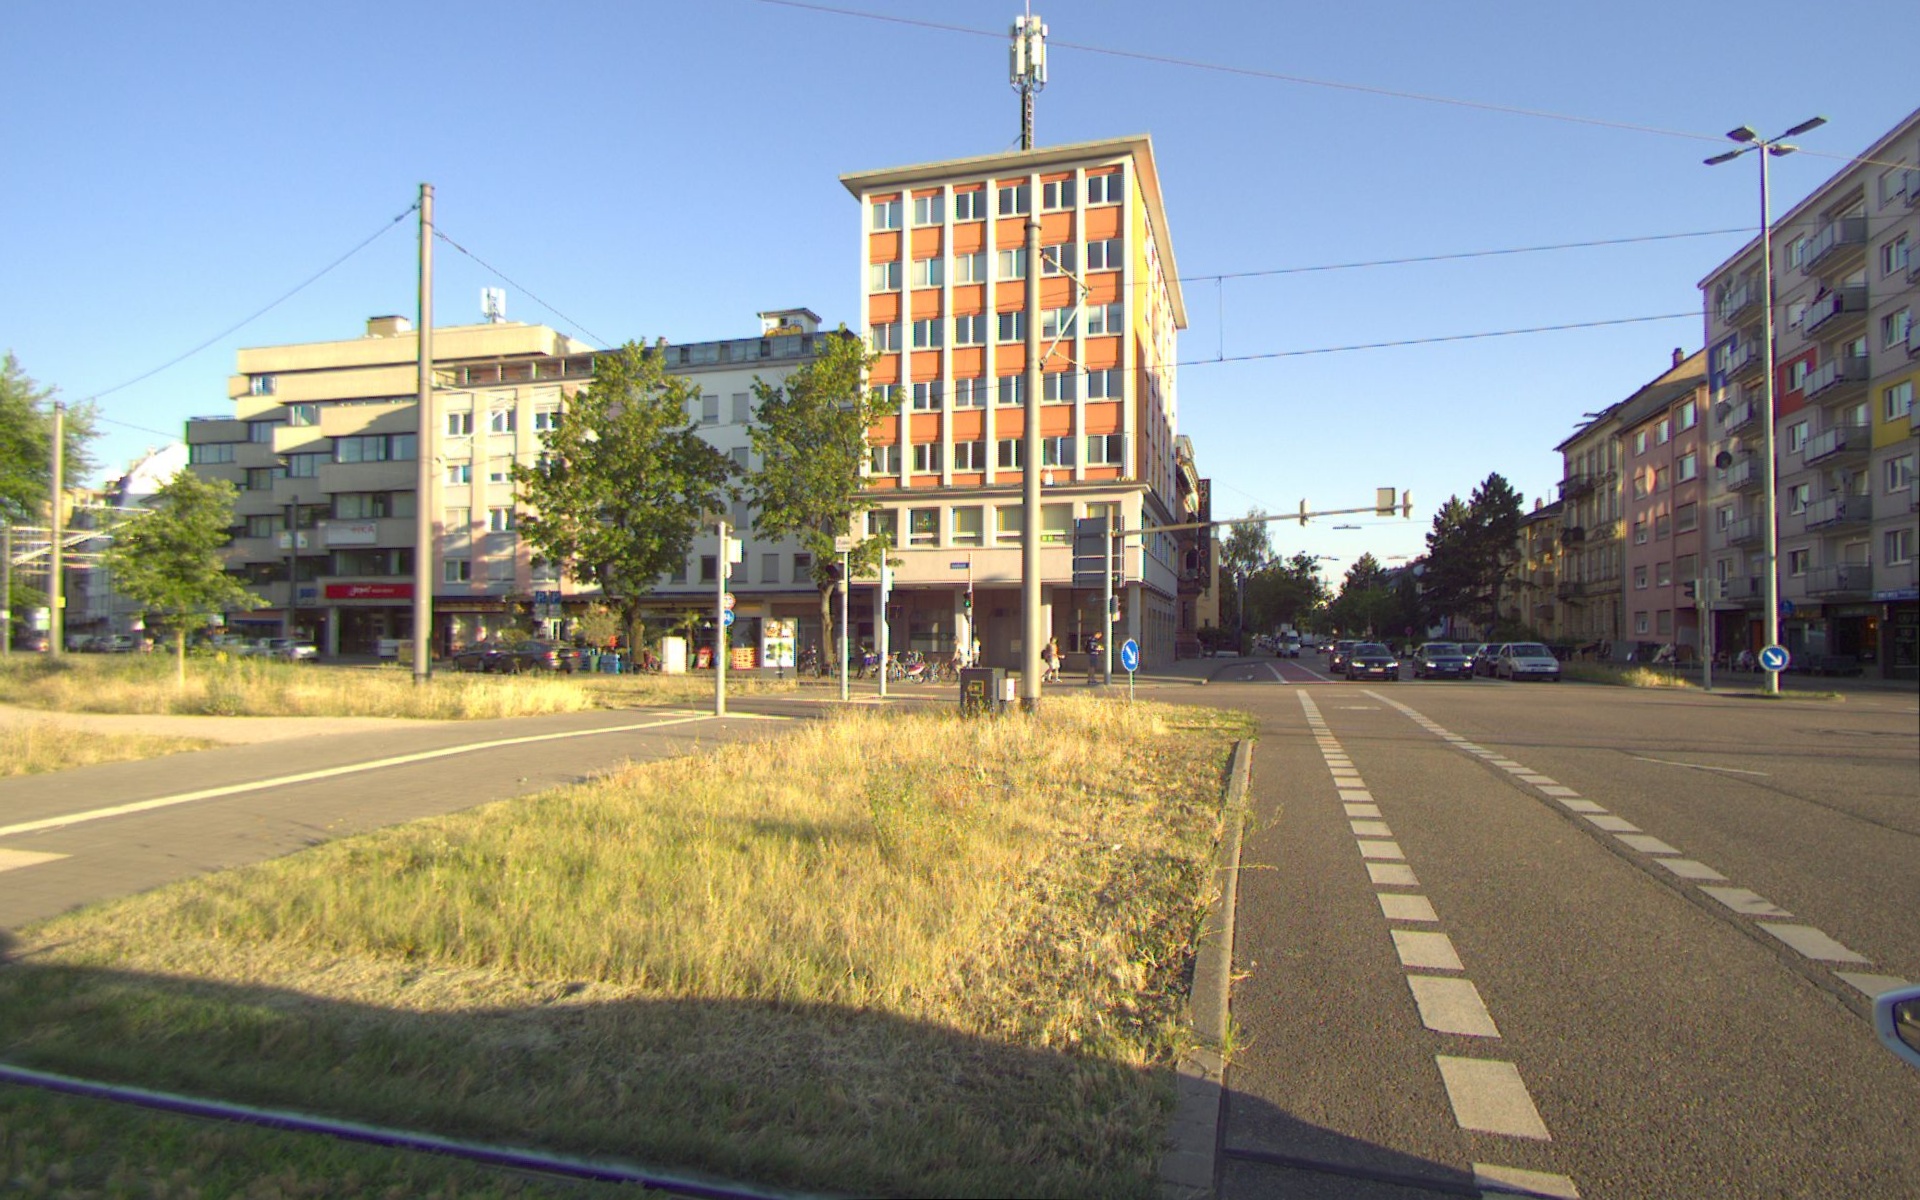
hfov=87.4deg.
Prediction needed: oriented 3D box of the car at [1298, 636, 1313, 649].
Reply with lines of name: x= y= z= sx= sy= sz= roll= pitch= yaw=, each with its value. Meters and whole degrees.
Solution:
car: x=67.252 y=8.219 z=195.456 sx=2.573 sy=2.408 sz=5.257 roll=0 pitch=-2 yaw=17

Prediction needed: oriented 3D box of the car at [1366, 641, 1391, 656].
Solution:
car: x=43.779 y=5.039 z=105.187 sx=1.960 sy=1.537 sz=4.222 roll=0 pitch=-2 yaw=17

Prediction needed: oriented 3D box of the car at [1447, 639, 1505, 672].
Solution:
car: x=25.172 y=2.662 z=49.151 sx=1.961 sy=1.505 sz=4.001 roll=0 pitch=-2 yaw=19

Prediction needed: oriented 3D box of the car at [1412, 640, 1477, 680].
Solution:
car: x=19.938 y=2.440 z=41.510 sx=1.961 sy=1.505 sz=4.001 roll=0 pitch=-2 yaw=19

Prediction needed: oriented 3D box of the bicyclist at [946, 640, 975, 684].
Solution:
bicyclist: x=0.007 y=2.039 z=33.258 sx=0.841 sy=1.445 sz=0.501 roll=-1 pitch=-1 yaw=23

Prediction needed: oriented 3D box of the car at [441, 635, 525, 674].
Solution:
car: x=-22.794 y=2.563 z=47.928 sx=3.935 sy=1.724 sz=1.993 roll=-1 pitch=-2 yaw=36

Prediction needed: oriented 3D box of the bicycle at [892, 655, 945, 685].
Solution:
bicycle: x=-1.555 y=2.620 z=37.690 sx=1.955 sy=1.089 sz=0.469 roll=0 pitch=-1 yaw=16

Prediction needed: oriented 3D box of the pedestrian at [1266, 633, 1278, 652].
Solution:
pedestrian: x=33.338 y=4.530 z=107.470 sx=1.006 sy=2.040 sz=0.945 roll=0 pitch=-1 yaw=3

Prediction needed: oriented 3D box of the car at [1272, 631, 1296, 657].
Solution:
car: x=29.700 y=4.007 z=92.113 sx=1.960 sy=2.355 sz=4.222 roll=0 pitch=-2 yaw=17

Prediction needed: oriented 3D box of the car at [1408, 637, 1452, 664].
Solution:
car: x=27.902 y=2.993 z=59.715 sx=1.961 sy=1.505 sz=4.001 roll=0 pitch=-2 yaw=19

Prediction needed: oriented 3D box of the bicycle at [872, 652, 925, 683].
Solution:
bicycle: x=-2.216 y=2.447 z=36.440 sx=1.869 sy=1.089 sz=0.469 roll=0 pitch=-1 yaw=16

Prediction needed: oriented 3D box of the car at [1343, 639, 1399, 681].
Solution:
car: x=16.355 y=2.345 z=40.085 sx=1.849 sy=1.505 sz=4.001 roll=0 pitch=-2 yaw=19

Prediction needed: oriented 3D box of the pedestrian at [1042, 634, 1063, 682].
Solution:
pedestrian: x=3.609 y=2.248 z=39.135 sx=0.699 sy=1.842 sz=0.752 roll=0 pitch=-1 yaw=16

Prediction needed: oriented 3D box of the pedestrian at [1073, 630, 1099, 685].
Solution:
pedestrian: x=4.522 y=2.051 z=36.074 sx=0.711 sy=1.972 sz=0.716 roll=0 pitch=-1 yaw=-12

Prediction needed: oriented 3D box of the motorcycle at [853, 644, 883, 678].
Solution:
motorcycle: x=-3.741 y=2.491 z=41.100 sx=0.534 sy=1.335 sz=1.836 roll=0 pitch=-1 yaw=18

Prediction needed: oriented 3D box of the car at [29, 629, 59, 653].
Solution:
car: x=-85.315 y=3.773 z=93.555 sx=1.986 sy=2.040 sz=3.949 roll=0 pitch=1 yaw=-43

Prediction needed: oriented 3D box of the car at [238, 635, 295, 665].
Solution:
car: x=-46.098 y=3.279 z=66.751 sx=3.937 sy=1.886 sz=1.992 roll=-1 pitch=-2 yaw=37

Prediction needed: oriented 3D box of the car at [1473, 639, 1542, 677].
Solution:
car: x=23.572 y=2.444 z=43.382 sx=1.961 sy=1.505 sz=4.001 roll=0 pitch=-2 yaw=19

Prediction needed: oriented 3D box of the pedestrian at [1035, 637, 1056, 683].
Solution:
pedestrian: x=3.277 y=2.287 z=38.464 sx=0.715 sy=1.707 sz=0.586 roll=0 pitch=-1 yaw=15

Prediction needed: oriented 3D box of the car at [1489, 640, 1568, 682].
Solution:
car: x=21.937 y=2.325 z=38.915 sx=1.961 sy=1.505 sz=4.001 roll=-1 pitch=-2 yaw=19

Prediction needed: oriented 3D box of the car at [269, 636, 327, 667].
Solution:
car: x=-41.932 y=3.231 z=63.587 sx=3.938 sy=1.889 sz=1.918 roll=-1 pitch=-2 yaw=38

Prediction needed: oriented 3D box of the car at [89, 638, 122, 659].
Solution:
car: x=-86.046 y=4.818 z=101.107 sx=3.943 sy=2.040 sz=1.989 roll=-1 pitch=-2 yaw=42

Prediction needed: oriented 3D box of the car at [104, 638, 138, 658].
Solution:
car: x=-81.645 y=4.622 z=97.703 sx=3.848 sy=1.903 sz=1.990 roll=-1 pitch=-2 yaw=42

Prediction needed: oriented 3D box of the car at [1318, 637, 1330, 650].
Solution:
car: x=73.760 y=8.800 z=203.537 sx=1.960 sy=2.408 sz=4.002 roll=0 pitch=-2 yaw=17

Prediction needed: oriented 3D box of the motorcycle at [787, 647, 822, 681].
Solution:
motorcycle: x=-6.178 y=2.537 z=39.957 sx=1.362 sy=1.335 sz=0.381 roll=0 pitch=-1 yaw=18

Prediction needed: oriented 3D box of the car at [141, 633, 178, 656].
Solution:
car: x=-69.748 y=3.846 z=87.479 sx=3.944 sy=2.007 sz=1.989 roll=-2 pitch=-2 yaw=43

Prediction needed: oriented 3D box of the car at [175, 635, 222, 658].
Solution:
car: x=-60.510 y=3.666 z=79.784 sx=3.937 sy=1.733 sz=1.992 roll=-1 pitch=-2 yaw=38

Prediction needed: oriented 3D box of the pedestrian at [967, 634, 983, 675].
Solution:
pedestrian: x=0.670 y=2.463 z=45.476 sx=0.627 sy=1.815 sz=0.586 roll=0 pitch=-1 yaw=15

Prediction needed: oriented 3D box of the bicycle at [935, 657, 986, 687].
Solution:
bicycle: x=0.018 y=2.382 z=33.246 sx=1.636 sy=0.957 sz=0.509 roll=-1 pitch=-1 yaw=23

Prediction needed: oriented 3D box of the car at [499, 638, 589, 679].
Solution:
car: x=-18.551 y=2.563 z=44.790 sx=3.936 sy=1.706 sz=1.993 roll=-1 pitch=-2 yaw=37

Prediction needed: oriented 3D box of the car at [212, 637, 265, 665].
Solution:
car: x=-50.661 y=3.540 z=70.502 sx=3.937 sy=1.863 sz=1.992 roll=-1 pitch=-2 yaw=37

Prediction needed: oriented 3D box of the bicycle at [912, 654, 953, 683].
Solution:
bicycle: x=-1.057 y=2.656 z=39.008 sx=1.530 sy=1.089 sz=0.395 roll=0 pitch=-1 yaw=16

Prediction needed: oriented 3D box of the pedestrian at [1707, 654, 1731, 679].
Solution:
pedestrian: x=39.109 y=3.400 z=51.747 sx=0.698 sy=1.272 sz=0.794 roll=0 pitch=-2 yaw=13

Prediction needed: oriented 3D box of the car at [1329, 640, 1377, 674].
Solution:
car: x=19.604 y=2.829 z=50.287 sx=1.960 sy=1.551 sz=4.001 roll=-1 pitch=-1 yaw=17
